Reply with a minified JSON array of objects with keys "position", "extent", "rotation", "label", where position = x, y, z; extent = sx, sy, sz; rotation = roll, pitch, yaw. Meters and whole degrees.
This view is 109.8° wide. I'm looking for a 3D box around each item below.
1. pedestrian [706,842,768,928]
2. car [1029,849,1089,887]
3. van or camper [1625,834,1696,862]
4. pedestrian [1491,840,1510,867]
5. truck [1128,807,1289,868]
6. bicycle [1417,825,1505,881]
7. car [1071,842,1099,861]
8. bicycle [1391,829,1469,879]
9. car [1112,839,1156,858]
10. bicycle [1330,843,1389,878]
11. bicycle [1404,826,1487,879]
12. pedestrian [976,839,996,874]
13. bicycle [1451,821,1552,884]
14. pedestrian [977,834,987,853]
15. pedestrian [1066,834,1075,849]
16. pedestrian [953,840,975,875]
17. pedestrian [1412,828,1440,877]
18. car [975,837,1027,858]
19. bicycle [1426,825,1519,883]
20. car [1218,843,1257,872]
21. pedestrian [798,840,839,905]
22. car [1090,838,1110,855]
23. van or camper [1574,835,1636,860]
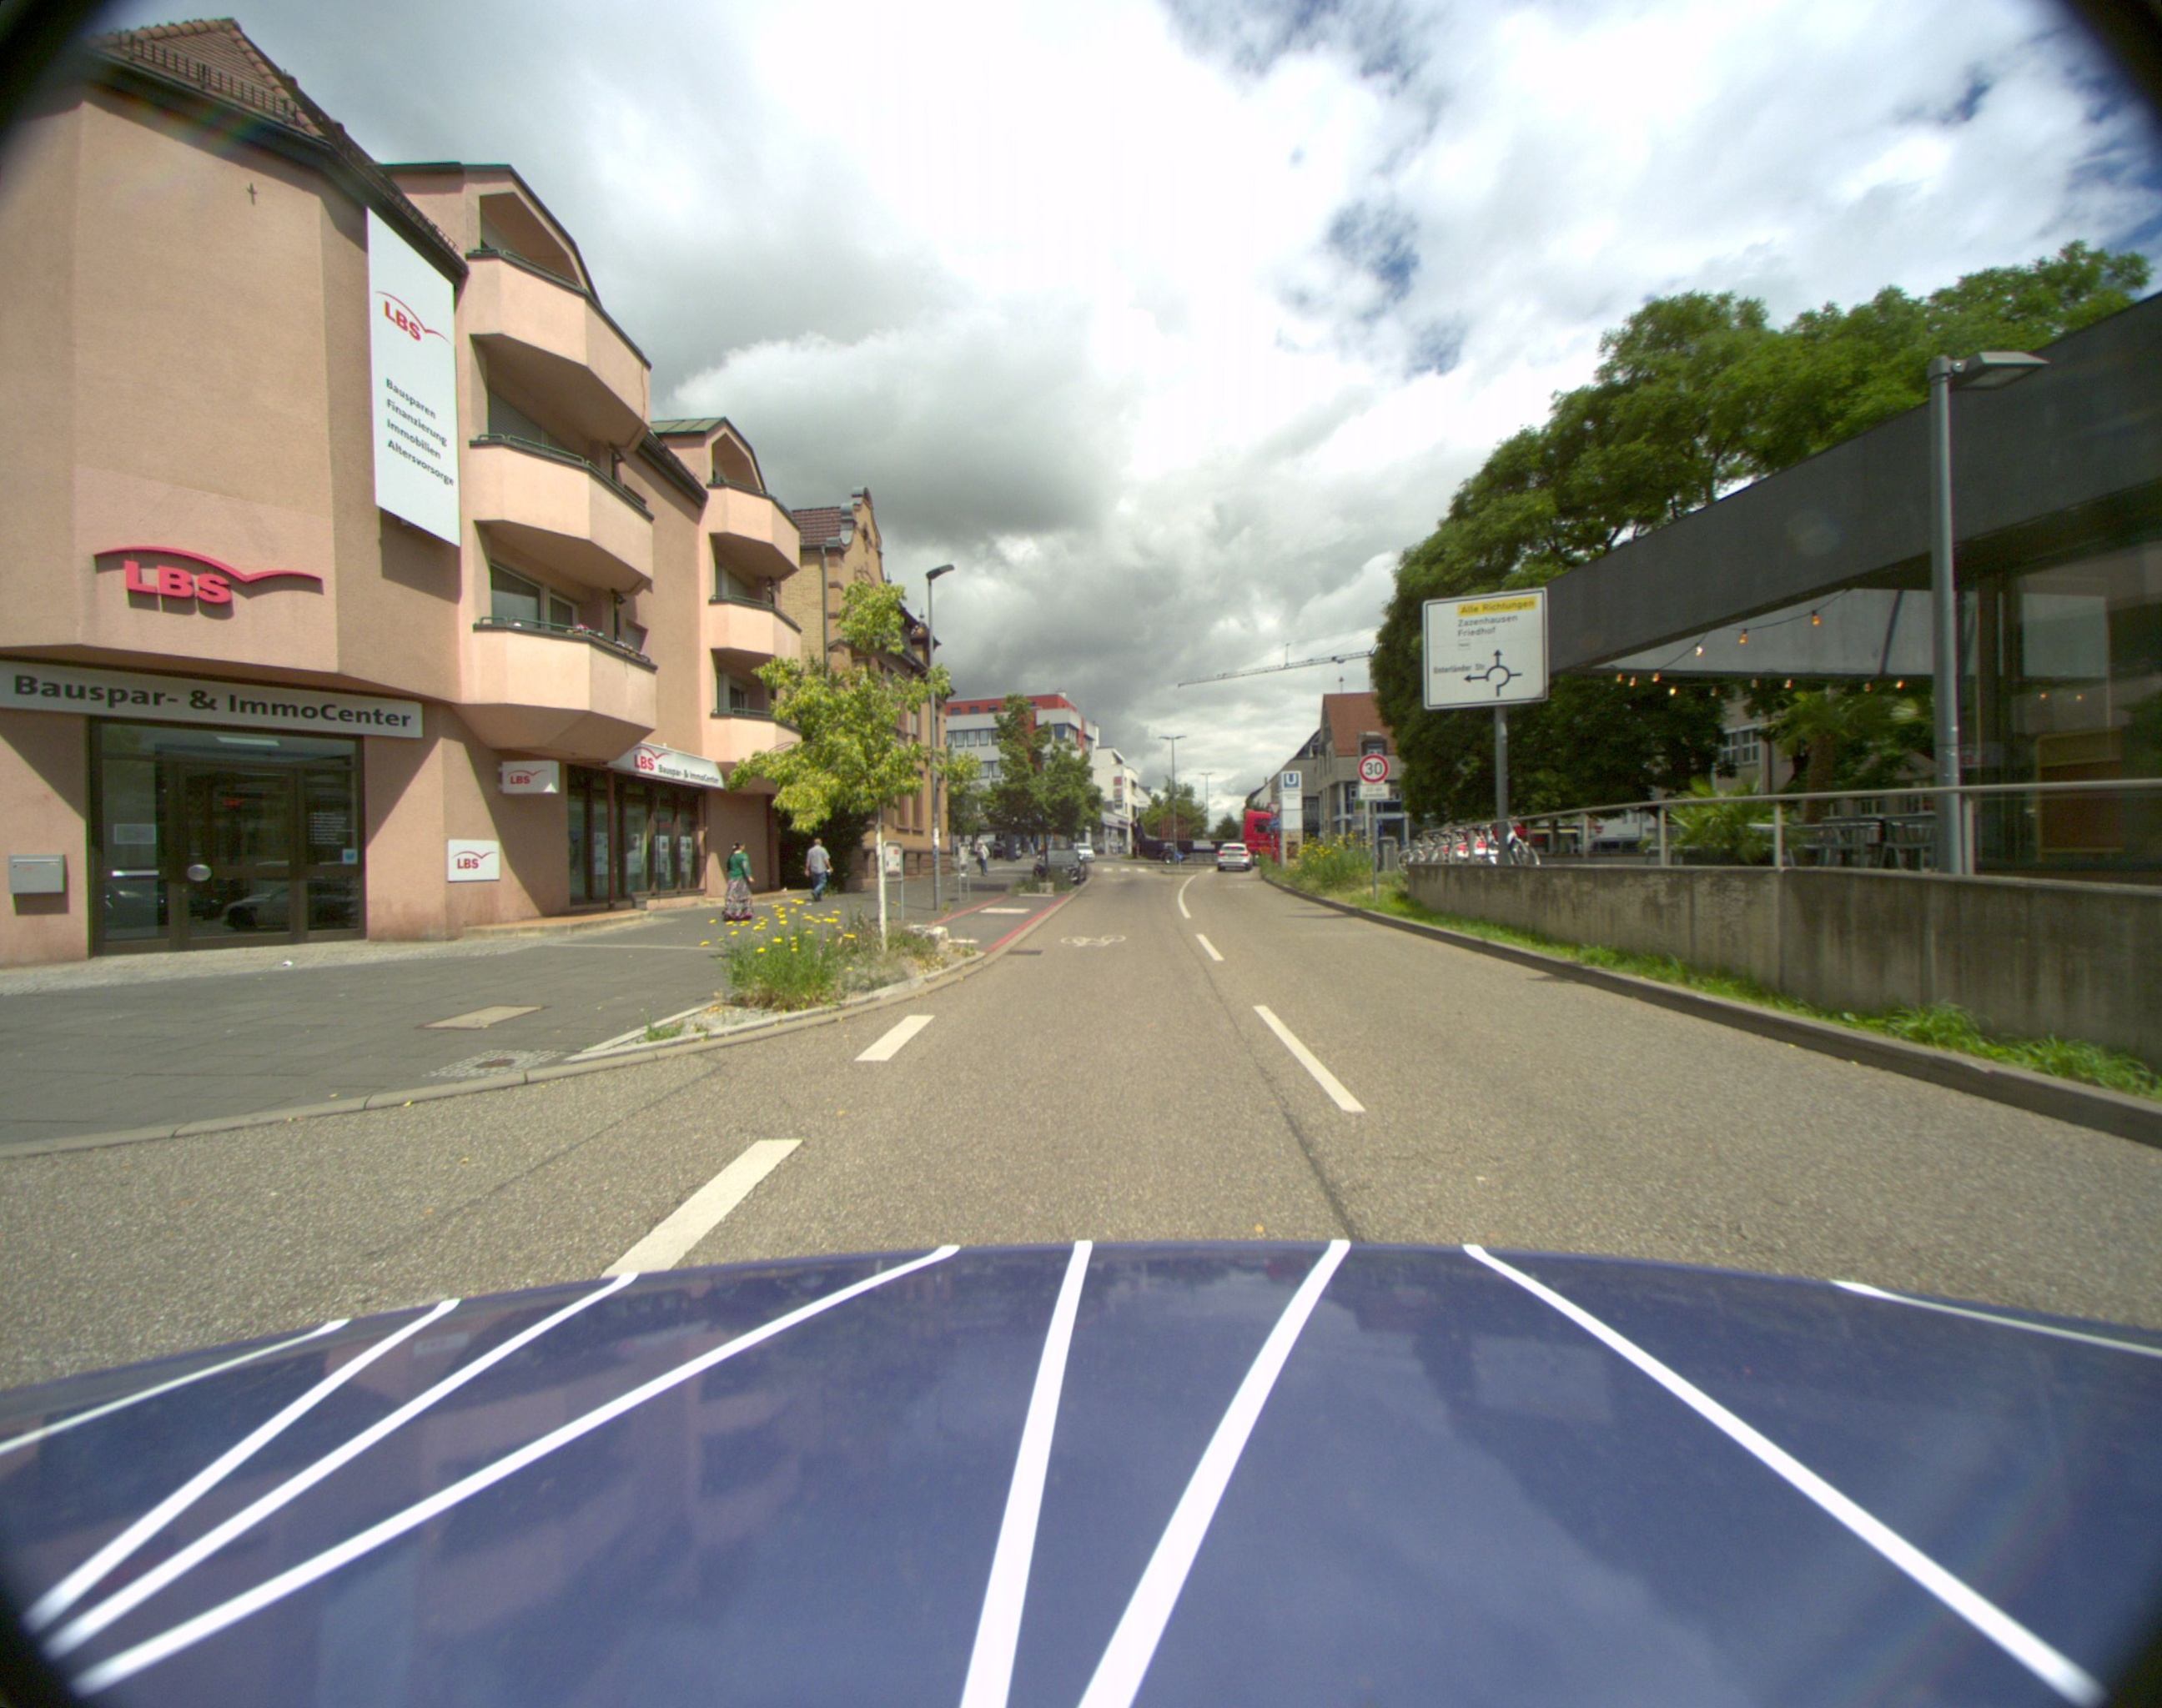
[{"position":[-6.737,0.586,14.917],"extent":[0.746,1.629,0.927],"rotation":[1,0,4],"label":"pedestrian"},{"position":[-0.831,0.522,31.925],"extent":[1.998,1.406,4.737],"rotation":[-1,1,5],"label":"car"},{"position":[50.635,-0.525,66.505],"extent":[2.002,2.369,4.667],"rotation":[-2,1,-19],"label":"van or camper"},{"position":[26.864,-0.030,48.658],"extent":[0.690,1.665,0.817],"rotation":[-2,0,2],"label":"pedestrian"},{"position":[8.990,-1.129,53.851],"extent":[10.824,3.821,2.686],"rotation":[-2,2,21],"label":"truck"},{"position":[7.898,-0.017,15.811],"extent":[1.550,1.121,0.534],"rotation":[-1,1,5],"label":"bicycle"},{"position":[0.303,-0.211,60.784],"extent":[1.816,1.391,4.050],"rotation":[-2,2,-5],"label":"car"},{"position":[7.999,0.009,17.445],"extent":[1.550,1.121,0.534],"rotation":[-1,1,5],"label":"bicycle"},{"position":[5.092,-0.520,72.765],"extent":[3.994,1.653,1.844],"rotation":[-2,2,9],"label":"car"},{"position":[8.960,0.216,24.443],"extent":[1.690,1.075,0.515],"rotation":[-1,-1,1],"label":"bicycle"},{"position":[7.992,-0.029,16.683],"extent":[1.550,1.121,0.534],"rotation":[-1,1,5],"label":"bicycle"},{"position":[-4.595,0.123,36.800],"extent":[0.696,1.649,0.741],"rotation":[-2,2,16],"label":"pedestrian"},{"position":[7.736,-0.021,14.006],"extent":[1.550,1.121,0.534],"rotation":[-1,1,5],"label":"bicycle"},{"position":[-10.346,-1.128,79.385],"extent":[0.684,1.903,0.767],"rotation":[-2,2,14],"label":"pedestrian"},{"position":[-1.047,-1.302,78.381],"extent":[0.684,1.586,0.767],"rotation":[-2,2,14],"label":"pedestrian"},{"position":[-5.596,0.176,36.329],"extent":[0.738,1.630,0.676],"rotation":[-1,3,30],"label":"pedestrian"},{"position":[11.714,-0.052,25.836],"extent":[0.661,1.619,0.800],"rotation":[-2,0,12],"label":"pedestrian"},{"position":[-6.886,-0.545,65.786],"extent":[3.994,1.641,2.001],"rotation":[-2,1,10],"label":"car"},{"position":[7.776,0.002,15.135],"extent":[1.550,1.121,0.534],"rotation":[-1,1,5],"label":"bicycle"},{"position":[9.097,0.183,44.006],"extent":[1.824,1.575,4.170],"rotation":[1,1,17],"label":"car"},{"position":[-6.982,0.474,20.241],"extent":[0.718,1.676,0.944],"rotation":[0,2,1],"label":"pedestrian"},{"position":[1.913,-0.798,75.824],"extent":[1.803,1.571,3.999],"rotation":[-2,2,2],"label":"car"},{"position":[50.793,-0.611,73.701],"extent":[2.002,2.369,4.667],"rotation":[-2,1,-19],"label":"van or camper"}]
